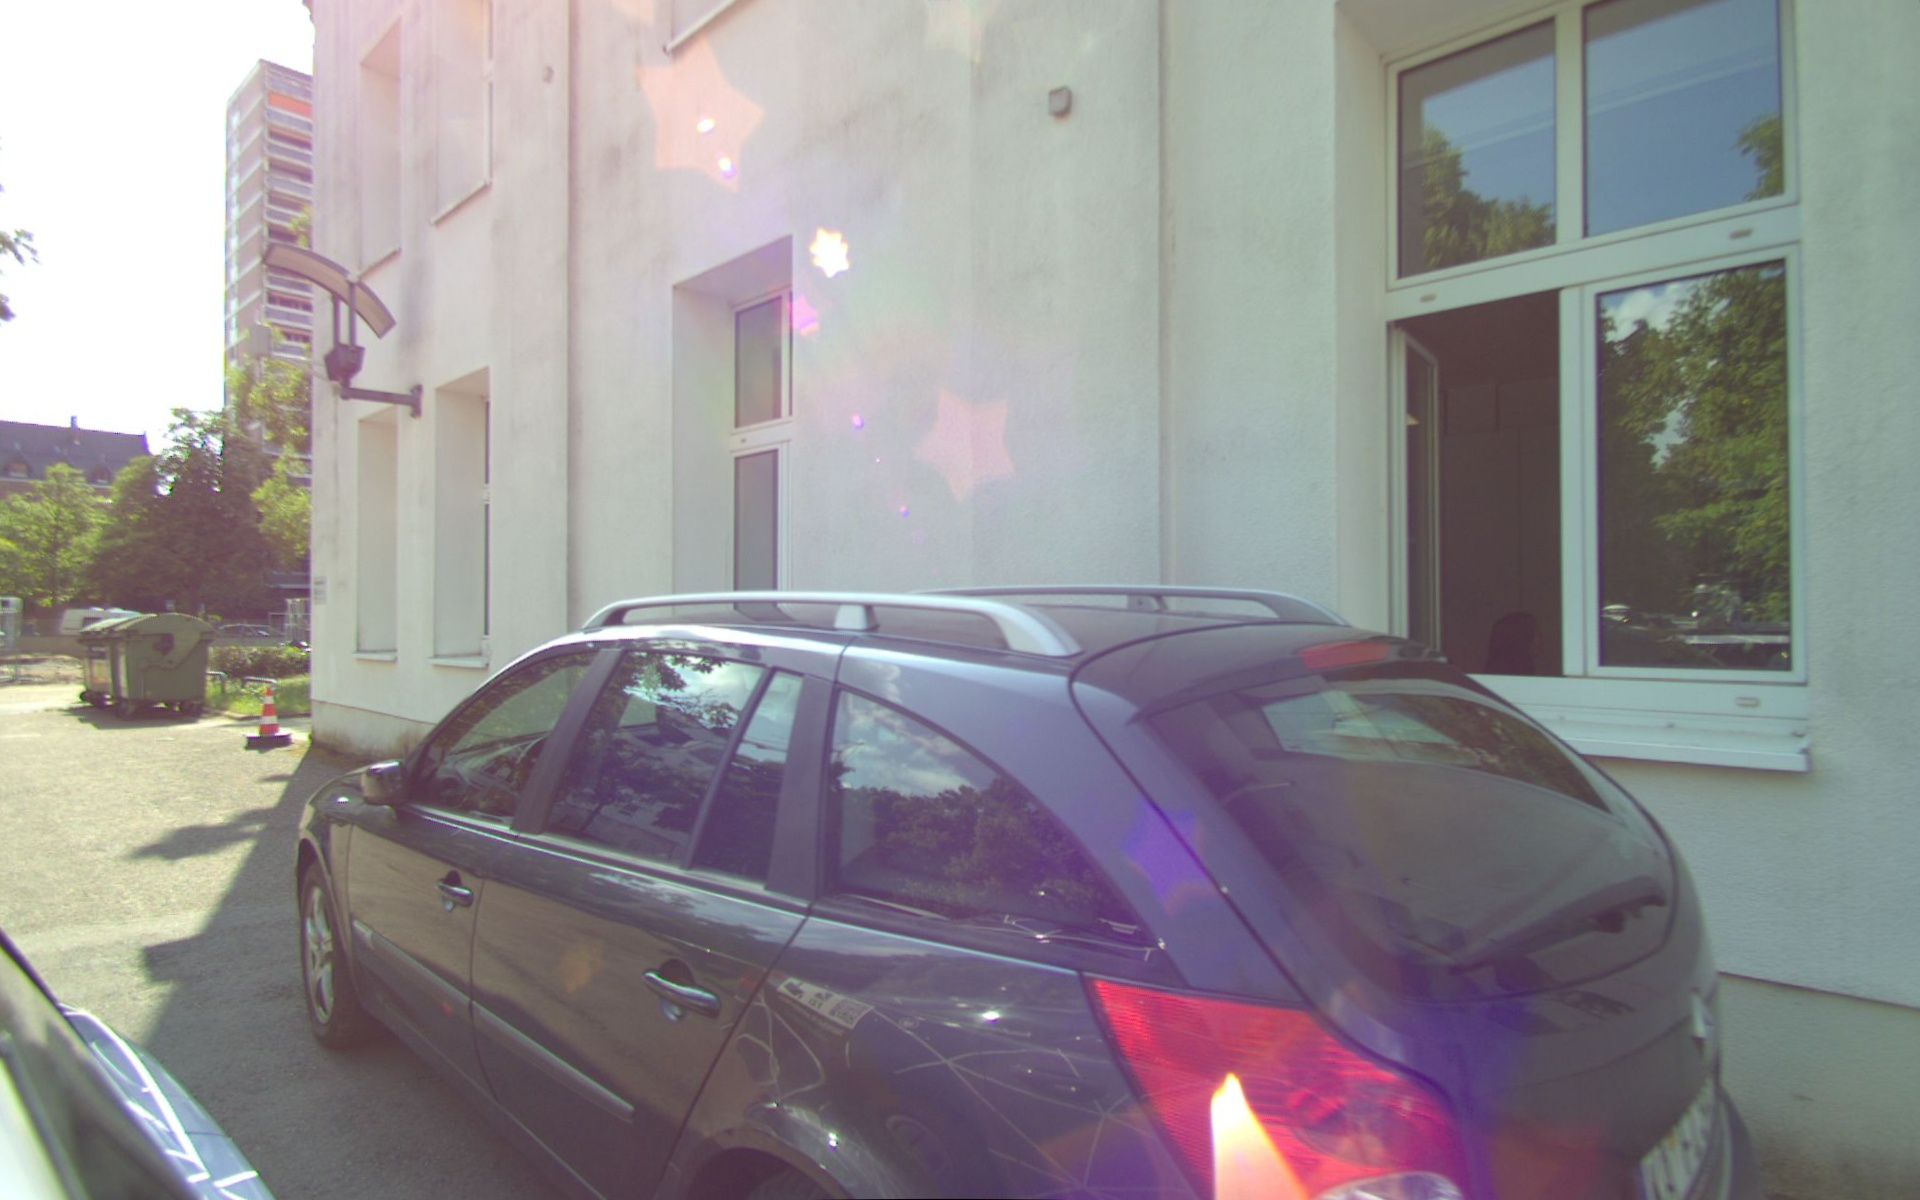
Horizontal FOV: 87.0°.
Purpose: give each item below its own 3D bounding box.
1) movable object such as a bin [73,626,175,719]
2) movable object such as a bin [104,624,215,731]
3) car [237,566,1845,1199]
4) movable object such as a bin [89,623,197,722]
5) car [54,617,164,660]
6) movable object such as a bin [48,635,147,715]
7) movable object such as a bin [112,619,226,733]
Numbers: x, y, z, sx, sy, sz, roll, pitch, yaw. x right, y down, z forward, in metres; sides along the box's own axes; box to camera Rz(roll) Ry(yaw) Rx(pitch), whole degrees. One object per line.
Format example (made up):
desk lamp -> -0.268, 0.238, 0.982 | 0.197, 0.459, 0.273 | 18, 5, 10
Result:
movable object such as a bin -> -14.319, 1.213, 17.335 | 1.342, 1.462, 1.088 | -2, 0, 40
movable object such as a bin -> -12.201, 1.145, 15.412 | 1.209, 1.462, 1.284 | -3, 0, -41
car -> -0.401, 0.635, 2.885 | 4.341, 1.453, 1.859 | 2, 3, 43
movable object such as a bin -> -13.207, 1.130, 16.352 | 1.233, 1.462, 1.089 | -1, 1, 39
car -> -46.351, 2.061, 55.127 | 5.263, 2.029, 1.989 | 2, 0, 17
movable object such as a bin -> -17.028, 1.454, 20.033 | 1.228, 1.493, 1.300 | -1, -2, -28
movable object such as a bin -> -11.295, 1.038, 14.446 | 1.344, 1.462, 1.087 | -1, 1, 45
